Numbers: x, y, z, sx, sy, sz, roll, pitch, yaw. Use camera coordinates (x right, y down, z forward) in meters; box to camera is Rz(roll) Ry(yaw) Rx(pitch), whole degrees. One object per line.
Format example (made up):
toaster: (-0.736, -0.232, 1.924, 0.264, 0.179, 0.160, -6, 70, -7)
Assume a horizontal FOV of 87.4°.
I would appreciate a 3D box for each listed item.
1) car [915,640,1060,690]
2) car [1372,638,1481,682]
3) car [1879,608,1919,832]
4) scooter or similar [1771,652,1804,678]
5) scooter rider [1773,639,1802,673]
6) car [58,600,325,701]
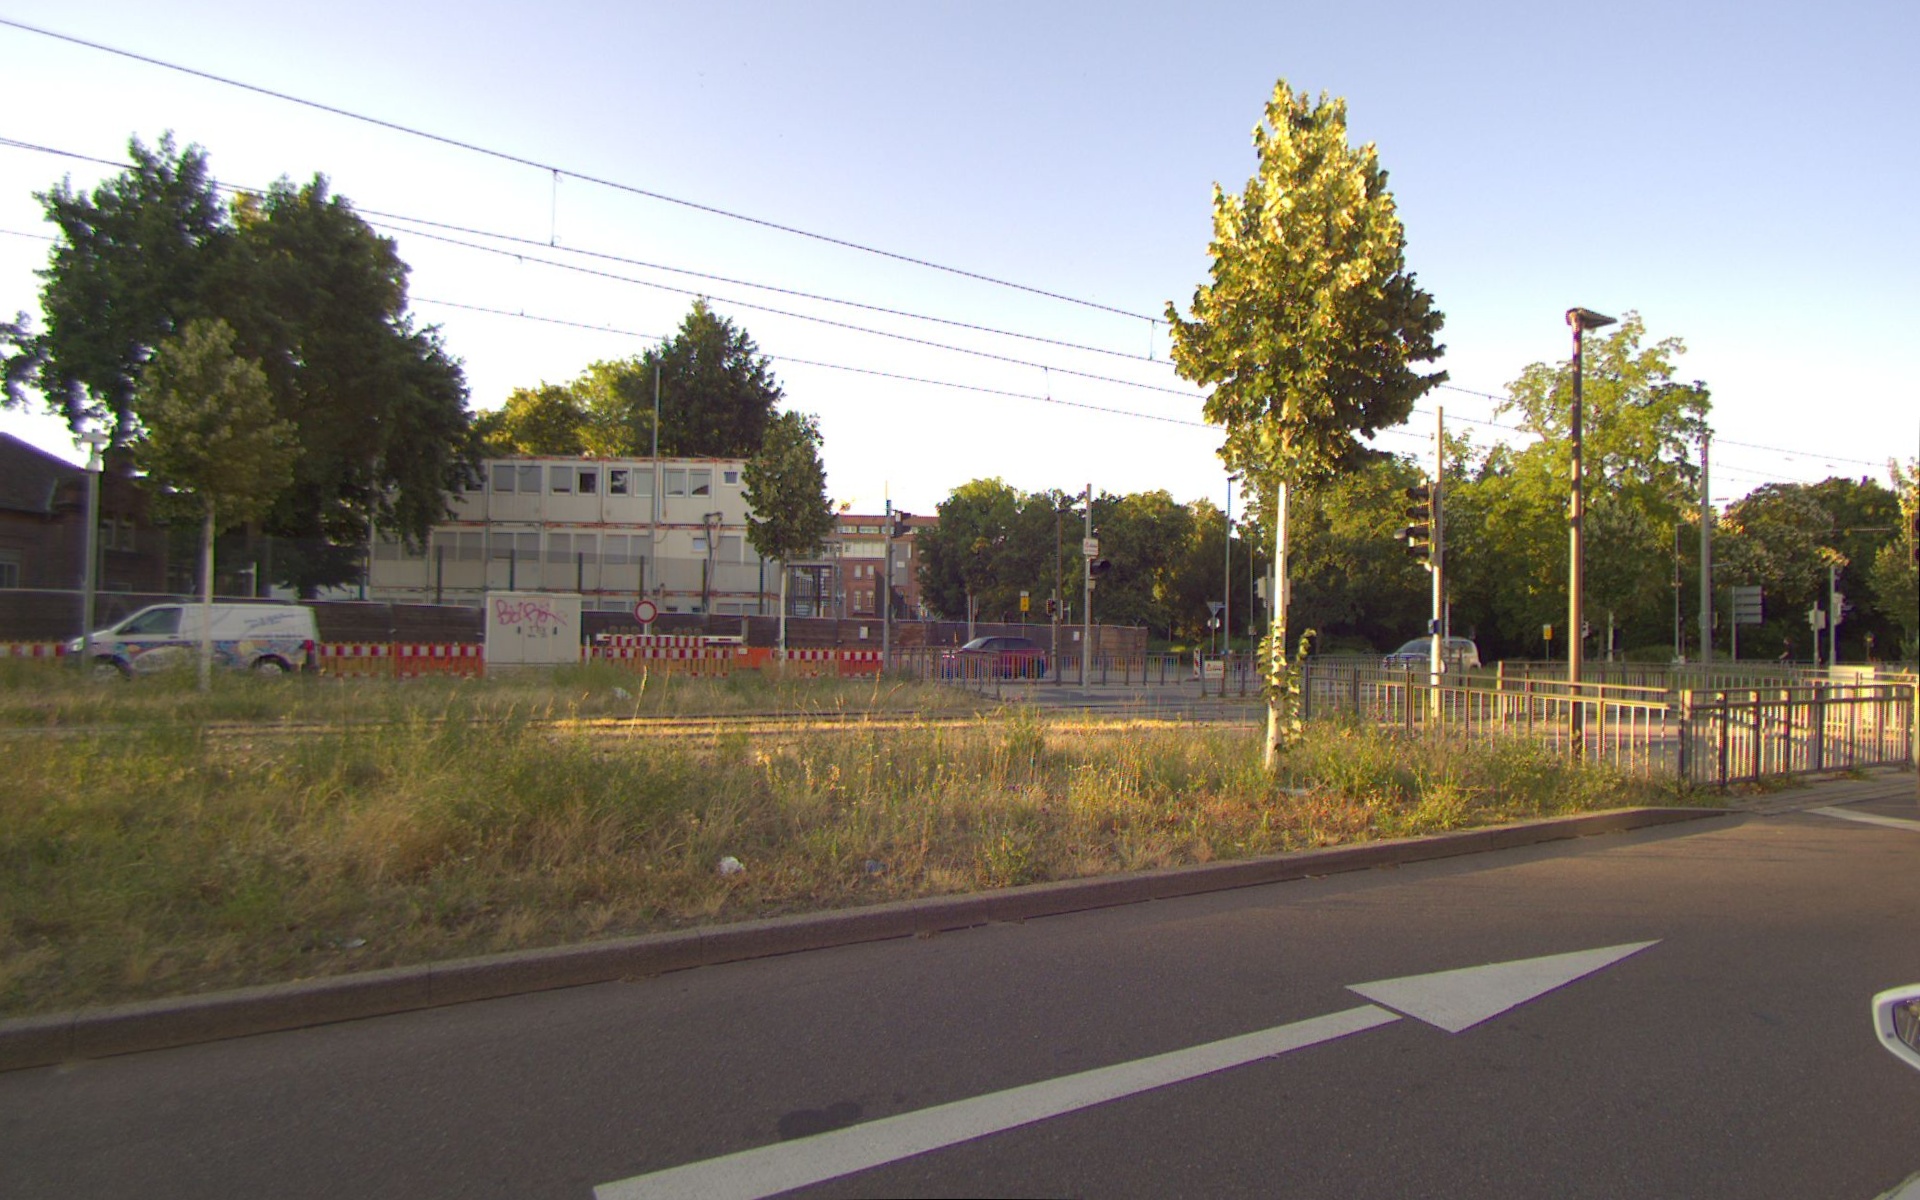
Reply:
car: (0.923, 2.123, 33.724, 4.461, 1.501, 1.987, 1, 0, -25)
car: (16.922, 2.148, 36.419, 3.737, 1.500, 1.792, 2, -2, -29)
car: (9.366, 0.927, 7.999, 4.217, 1.681, 1.846, 1, 0, -30)
scooter or similar: (37.364, 2.929, 45.351, 1.312, 1.168, 0.511, 2, -2, -18)
scooter rider: (37.393, 2.538, 45.383, 0.810, 1.534, 0.650, 1, -2, -18)
car: (-17.830, 1.121, 23.657, 4.691, 2.197, 1.985, 1, 0, -28)
